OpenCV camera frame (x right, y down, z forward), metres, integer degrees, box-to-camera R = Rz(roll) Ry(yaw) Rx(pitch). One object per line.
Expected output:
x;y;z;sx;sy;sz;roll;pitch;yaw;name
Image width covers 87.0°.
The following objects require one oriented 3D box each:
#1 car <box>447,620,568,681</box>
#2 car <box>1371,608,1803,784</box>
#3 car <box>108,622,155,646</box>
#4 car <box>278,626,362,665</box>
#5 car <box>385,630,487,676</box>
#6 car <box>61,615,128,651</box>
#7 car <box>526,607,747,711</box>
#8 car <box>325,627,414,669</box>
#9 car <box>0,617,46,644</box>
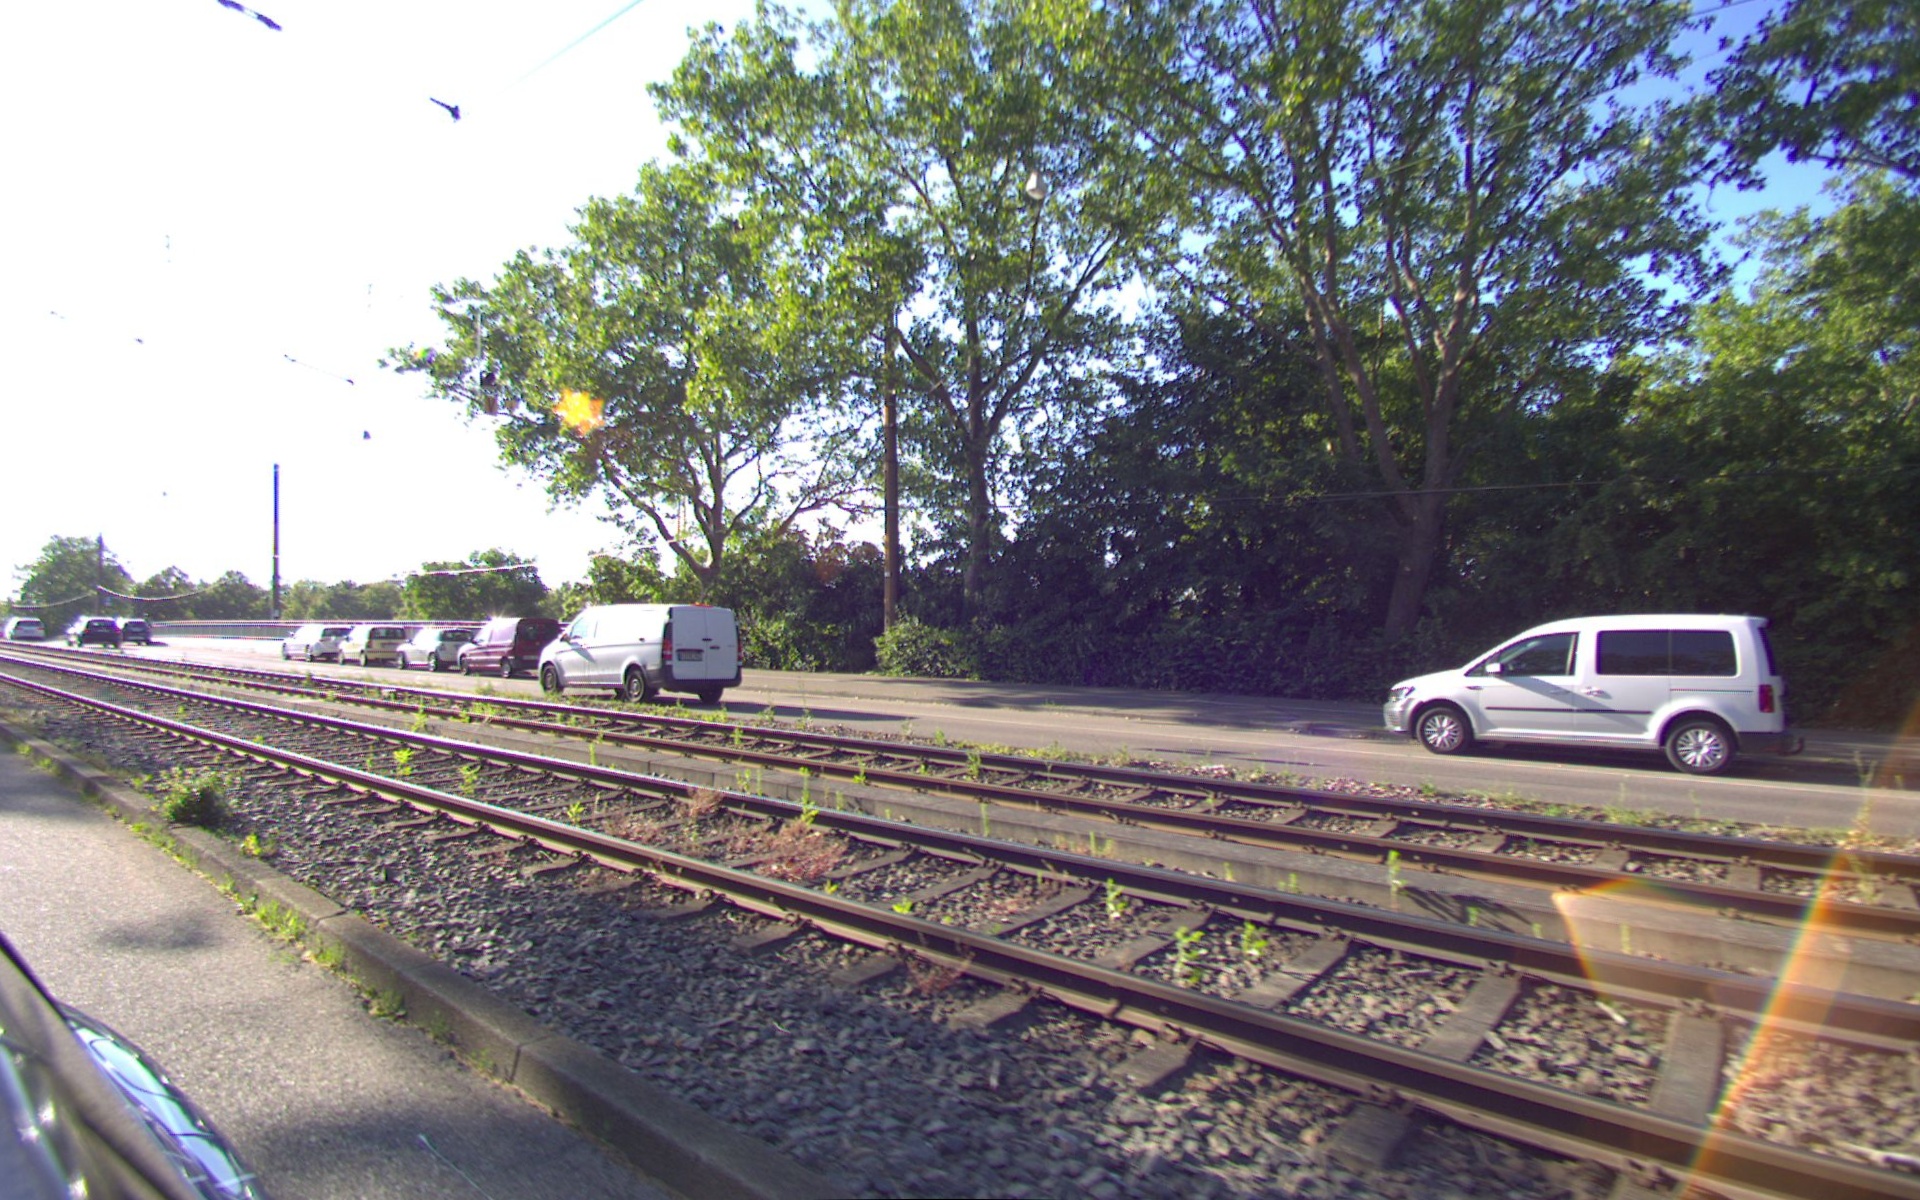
-13.789;1.511;30.802;3.895;1.753;1.713;-1;-4;39;car
7.720;1.079;12.765;4.389;1.855;1.809;-1;-4;39;car
-53.545;2.176;65.397;3.923;1.511;1.637;-1;-4;41;car
-26.167;1.858;41.352;3.920;1.511;1.638;-1;-4;39;car
-17.819;1.788;34.371;3.781;1.453;1.638;-1;-4;39;car
-47.834;1.794;55.892;4.959;1.866;1.963;-1;-4;40;car
-6.638;1.141;20.471;5.032;1.866;1.808;-1;-4;40;car
-22.083;1.778;37.821;3.782;1.453;1.637;-1;-4;40;car
-68.817;2.219;74.153;4.959;1.866;1.963;-1;-4;40;car
